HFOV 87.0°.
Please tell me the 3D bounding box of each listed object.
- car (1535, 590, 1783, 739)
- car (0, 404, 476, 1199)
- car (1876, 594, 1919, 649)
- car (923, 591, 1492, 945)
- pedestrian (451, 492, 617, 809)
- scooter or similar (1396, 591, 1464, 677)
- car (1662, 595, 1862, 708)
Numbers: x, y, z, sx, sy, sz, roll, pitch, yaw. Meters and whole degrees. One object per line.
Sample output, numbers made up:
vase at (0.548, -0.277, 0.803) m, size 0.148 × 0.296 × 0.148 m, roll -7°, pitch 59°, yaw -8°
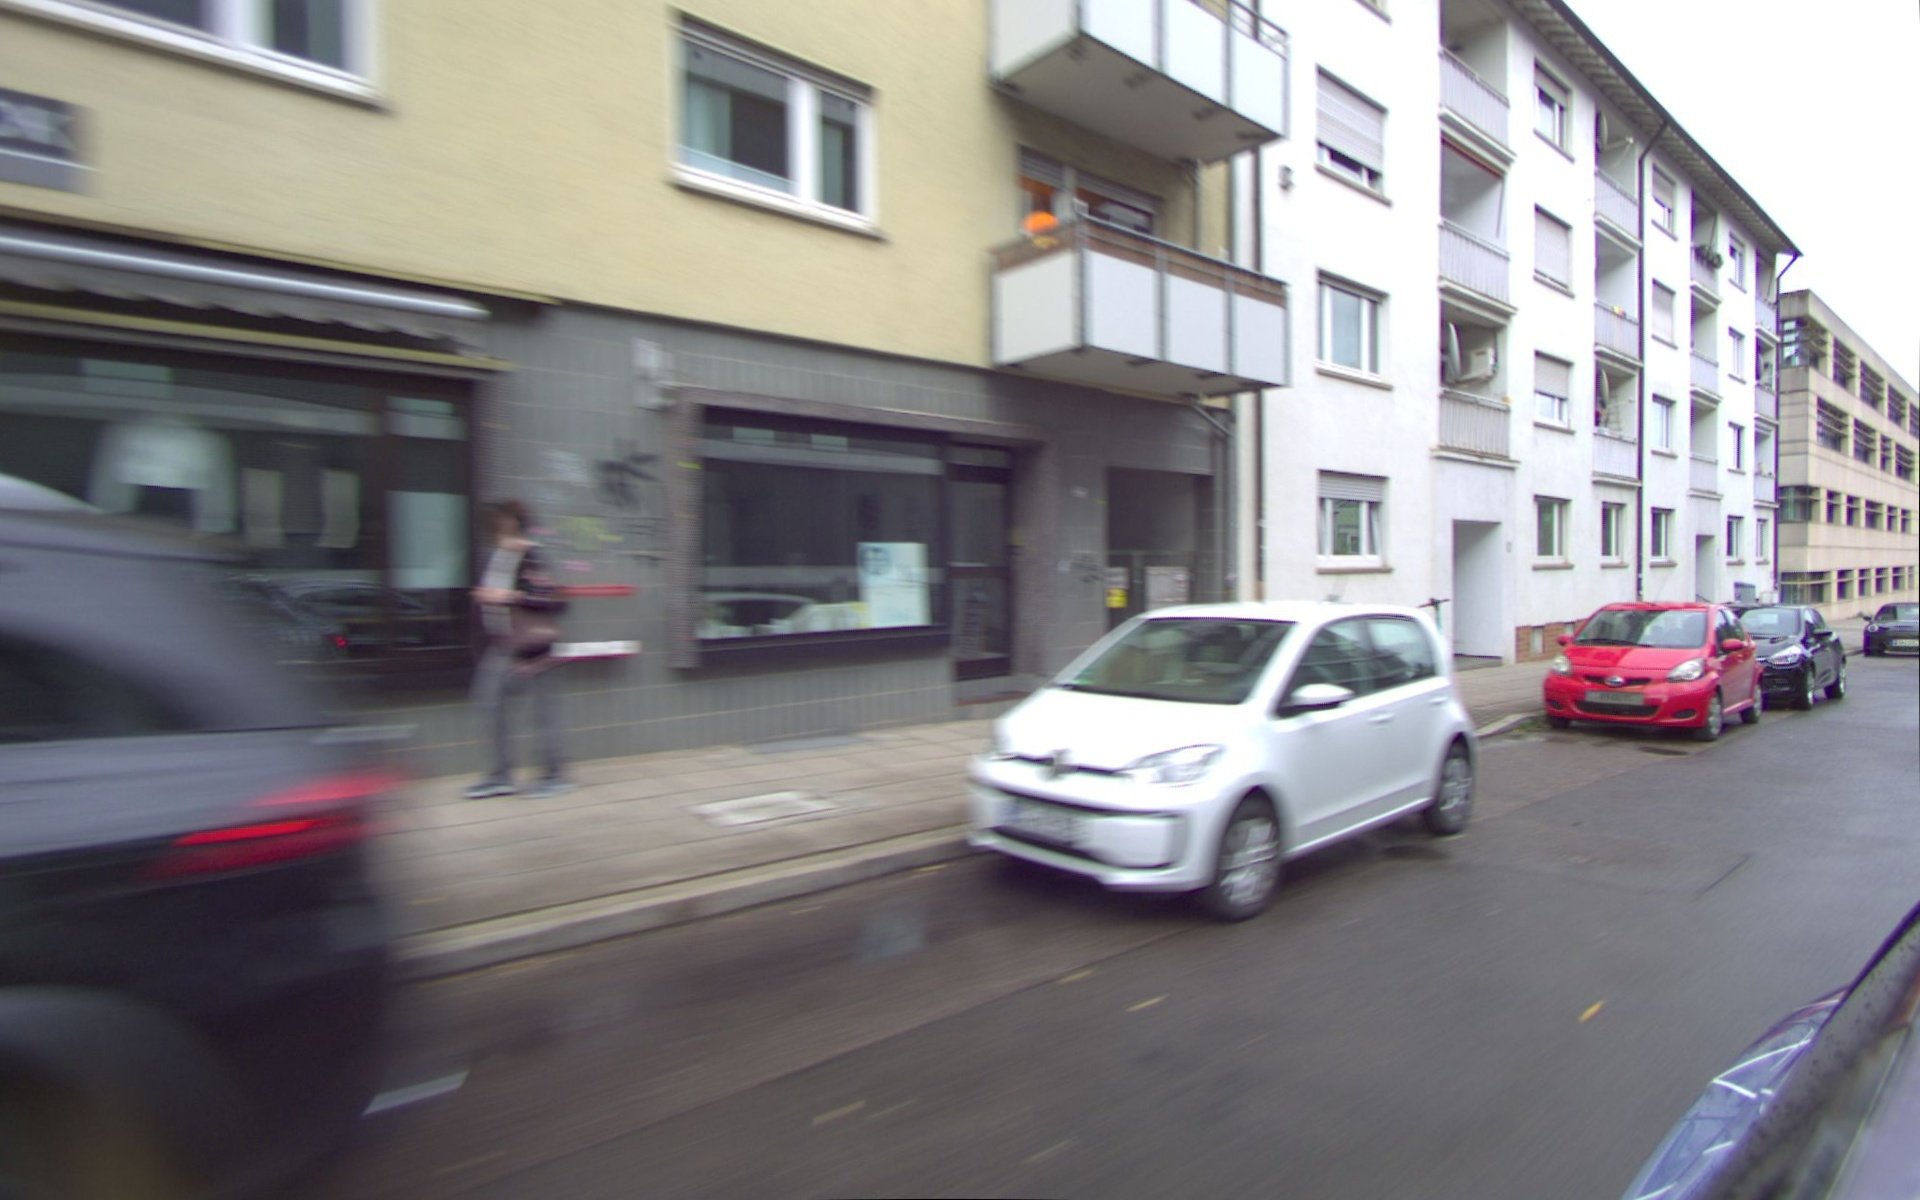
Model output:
car at (8.287, 0.633, 11.906) m, size 3.423 × 1.475 × 1.629 m, roll -1°, pitch 0°, yaw -41°
car at (-3.258, 0.601, 1.281) m, size 4.434 × 1.796 × 1.966 m, roll -1°, pitch 1°, yaw -41°
car at (26.486, 0.556, 27.710) m, size 3.712 × 1.428 × 1.629 m, roll -1°, pitch 0°, yaw -41°
car at (1.615, 0.697, 6.021) m, size 3.423 × 1.475 × 1.629 m, roll -1°, pitch 0°, yaw -41°
pedestrian at (-2.625, 0.265, 6.225) m, size 0.735 × 1.795 × 0.715 m, roll 0°, pitch 3°, yaw -41°
scooter or similar at (7.177, 0.493, 15.434) m, size 1.297 × 1.246 × 0.444 m, roll 0°, pitch 0°, yaw -41°
car at (11.819, 0.650, 14.837) m, size 3.712 × 1.428 × 1.629 m, roll -1°, pitch 0°, yaw -41°
